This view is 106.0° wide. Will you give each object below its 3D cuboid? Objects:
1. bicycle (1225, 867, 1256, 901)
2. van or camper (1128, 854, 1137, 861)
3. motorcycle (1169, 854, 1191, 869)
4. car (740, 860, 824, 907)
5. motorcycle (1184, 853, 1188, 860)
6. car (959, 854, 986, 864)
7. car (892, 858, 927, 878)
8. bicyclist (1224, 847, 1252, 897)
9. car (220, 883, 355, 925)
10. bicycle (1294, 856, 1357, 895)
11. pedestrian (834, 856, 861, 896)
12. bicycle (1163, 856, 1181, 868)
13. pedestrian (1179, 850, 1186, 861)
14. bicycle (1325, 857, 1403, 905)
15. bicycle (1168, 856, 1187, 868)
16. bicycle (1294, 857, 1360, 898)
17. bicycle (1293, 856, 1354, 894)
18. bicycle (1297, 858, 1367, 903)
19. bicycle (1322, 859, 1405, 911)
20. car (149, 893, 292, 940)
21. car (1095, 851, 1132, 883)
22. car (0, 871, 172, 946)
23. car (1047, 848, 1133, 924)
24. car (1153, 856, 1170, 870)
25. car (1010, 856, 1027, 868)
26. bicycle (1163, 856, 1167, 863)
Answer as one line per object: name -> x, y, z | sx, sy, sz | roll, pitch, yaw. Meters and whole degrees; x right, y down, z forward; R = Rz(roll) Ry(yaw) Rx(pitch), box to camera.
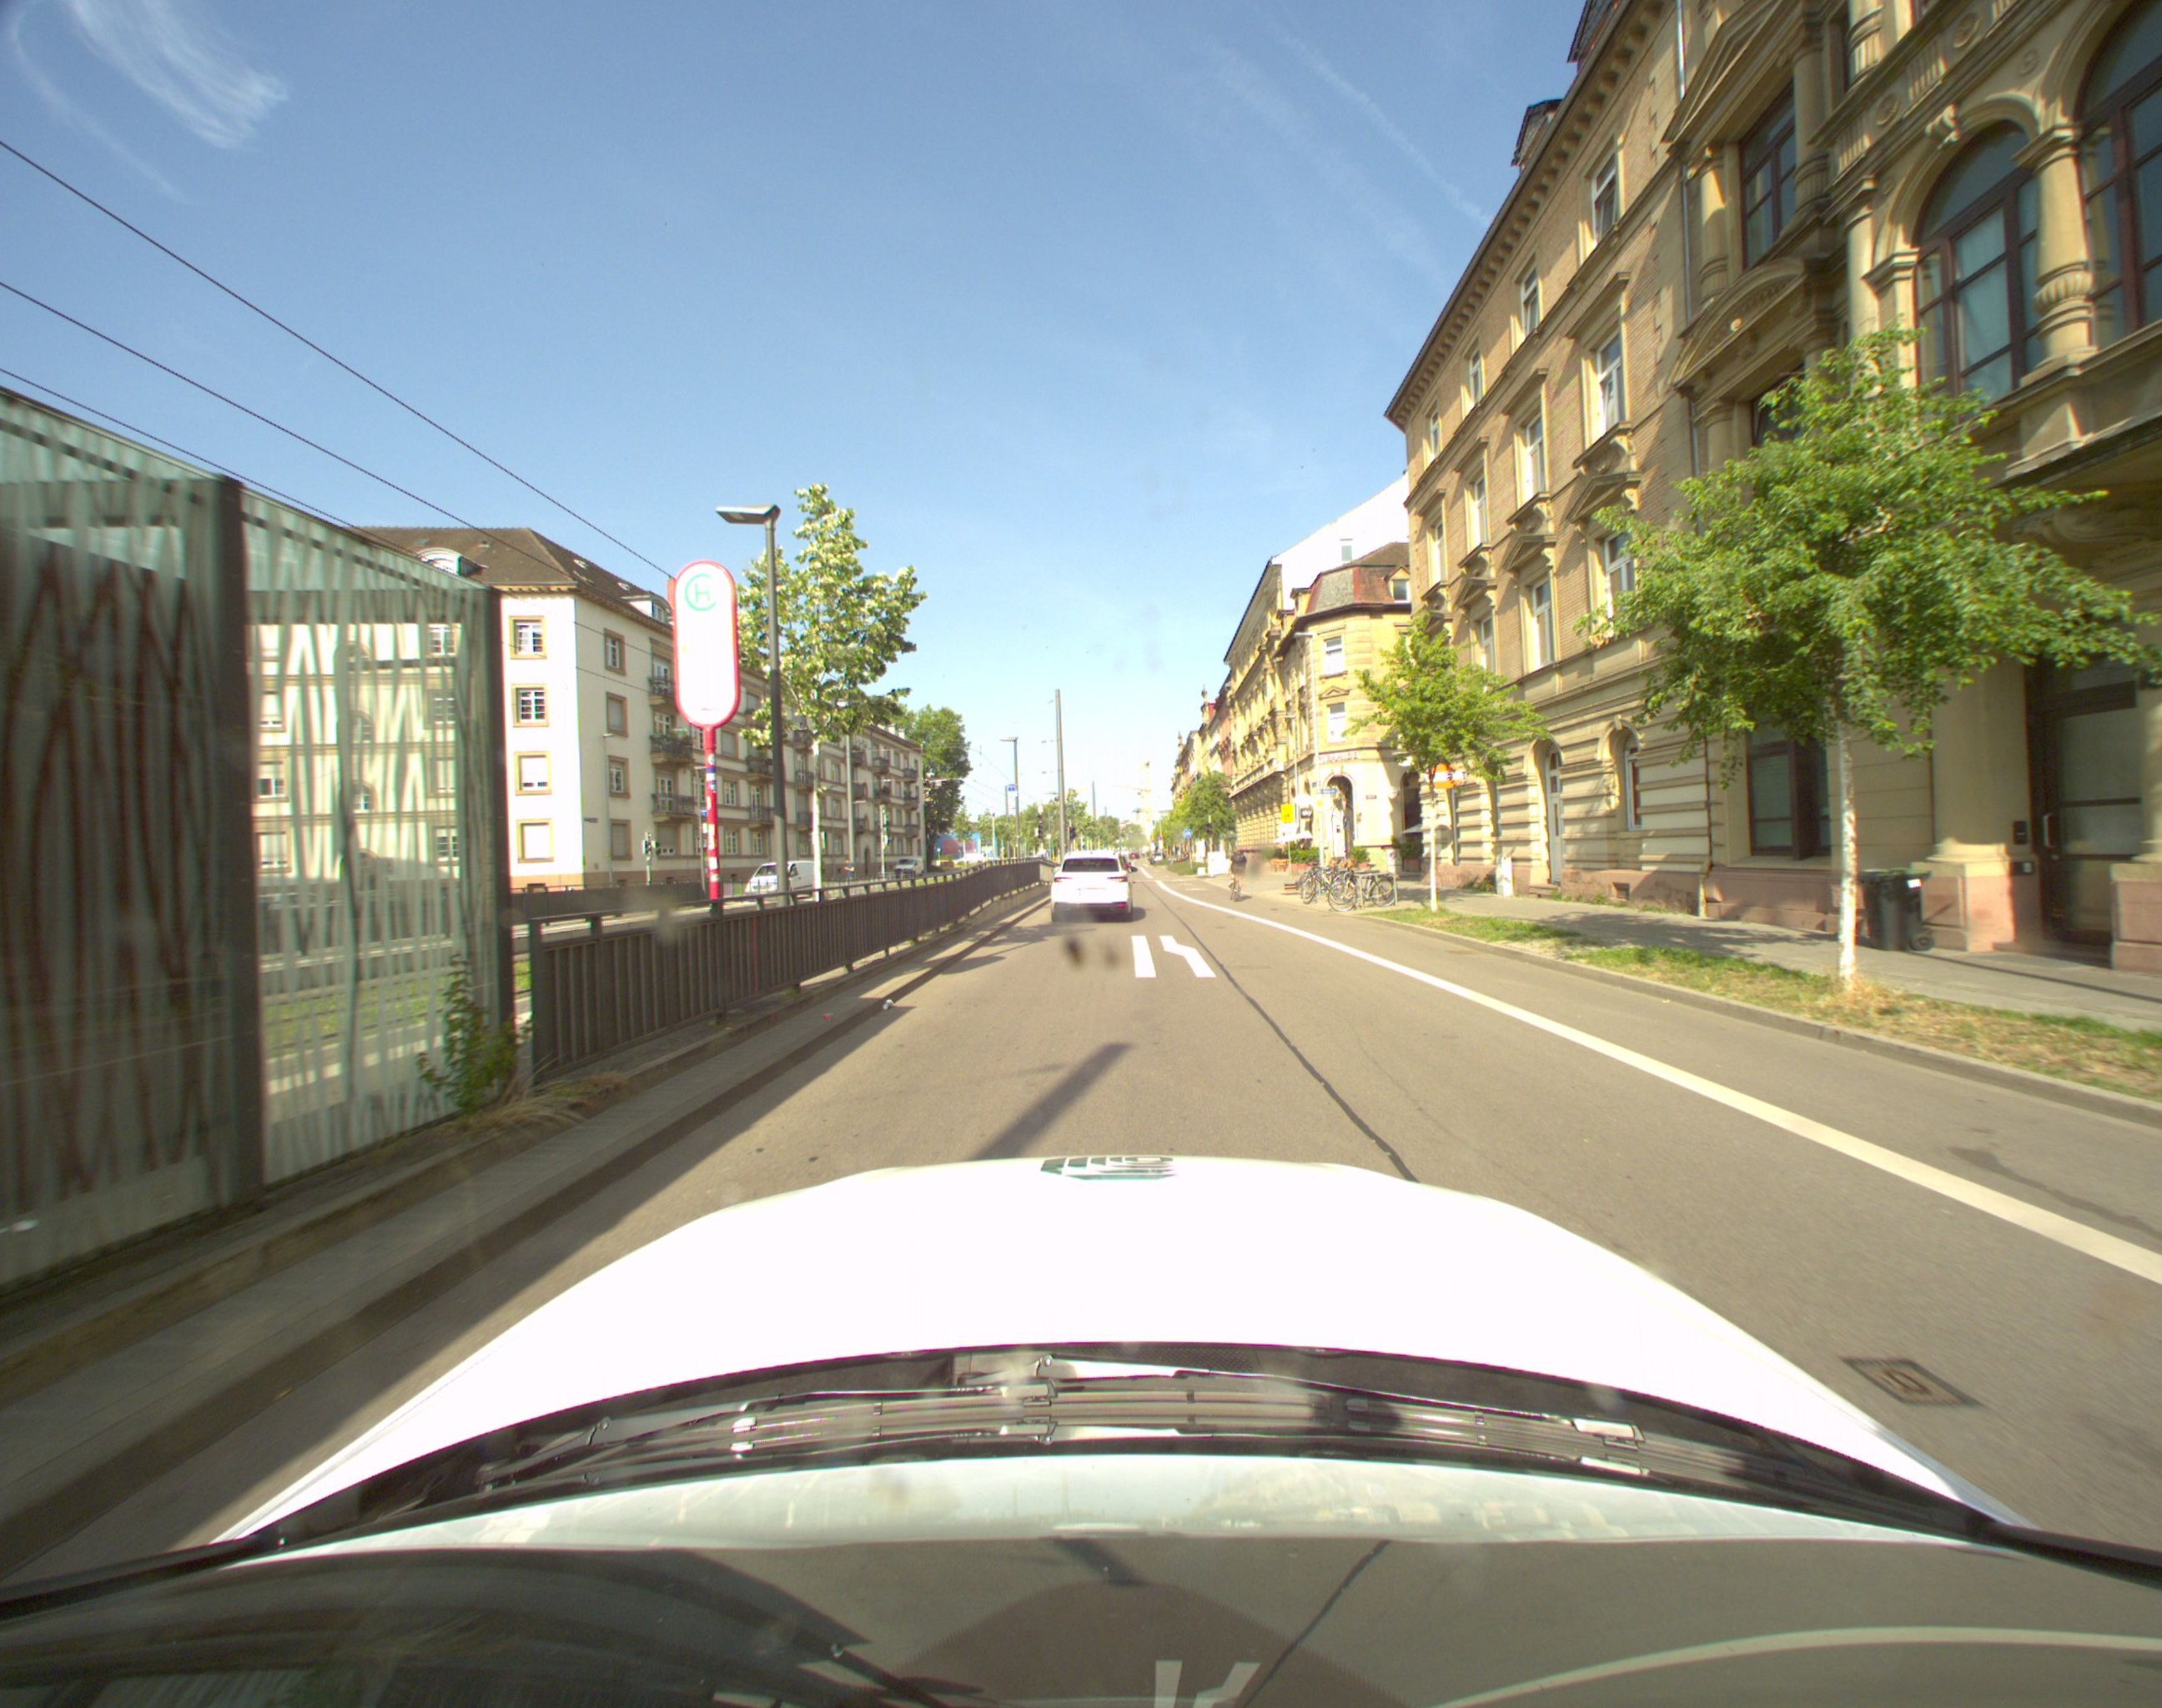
bicycle -> 4.984, 0.920, 25.388 | 0.501, 0.953, 1.795 | -4, -1, 23
van or camper -> 12.240, 0.770, 193.817 | 1.985, 1.655, 4.003 | -3, 0, 3
motorcycle -> 9.684, 0.722, 79.578 | 2.049, 1.287, 0.698 | -4, 1, -32
car -> -14.318, 1.344, 39.367 | 1.986, 2.013, 4.935 | -3, 0, 2
motorcycle -> 17.810, 0.409, 138.050 | 0.461, 1.175, 1.947 | -4, -1, 4
car -> -28.768, 1.444, 216.208 | 6.892, 2.638, 2.499 | 0, -1, -18
car -> -16.932, 1.337, 80.720 | 1.985, 1.918, 5.158 | -1, 0, 4
bicyclist -> 4.886, 0.551, 25.321 | 0.578, 1.482, 0.937 | -4, -1, 23
car -> -32.323, 2.000, 33.345 | 1.669, 1.405, 3.997 | -3, 0, -2
bicycle -> 7.682, 0.660, 25.621 | 1.743, 1.087, 0.584 | -4, 0, 6
pedestrian -> -11.166, 1.048, 38.897 | 1.073, 1.867, 0.857 | -2, -1, -25
bicycle -> 9.497, 0.833, 85.386 | 1.778, 1.054, 0.373 | -4, 0, 1
pedestrian -> 16.069, 0.265, 128.698 | 0.820, 1.696, 0.793 | -4, 0, -1
bicycle -> 7.513, 0.700, 21.653 | 1.753, 1.087, 0.656 | -5, 0, -7
bicycle -> 9.867, 0.819, 83.672 | 1.802, 1.096, 0.671 | -4, 0, -2
bicycle -> 7.357, 0.692, 24.378 | 1.745, 1.087, 0.670 | -4, 0, 8
bicycle -> 7.797, 0.666, 26.218 | 1.743, 1.087, 0.584 | -4, 0, 6
bicycle -> 7.077, 0.746, 22.996 | 1.761, 1.087, 0.668 | -5, 0, -20
bicycle -> 6.968, 0.762, 20.108 | 1.753, 1.087, 0.609 | -5, 0, -7
car -> -34.726, 2.479, 33.027 | 1.669, 1.532, 3.922 | -3, 0, -2
car -> 1.718, 0.641, 41.706 | 1.746, 1.484, 4.411 | -1, 0, 3
car -> -39.556, 2.067, 32.058 | 1.990, 2.583, 5.046 | -3, 0, -4
car -> 0.332, 0.693, 19.565 | 1.809, 1.590, 4.411 | -1, 0, 3
car -> 10.488, 1.160, 106.428 | 1.764, 1.588, 4.247 | -3, 0, 0
car -> -10.233, 1.307, 134.438 | 1.985, 1.895, 5.052 | -2, 0, 4
bicycle -> 13.199, 0.883, 127.672 | 0.490, 1.094, 1.828 | -2, 0, 4
